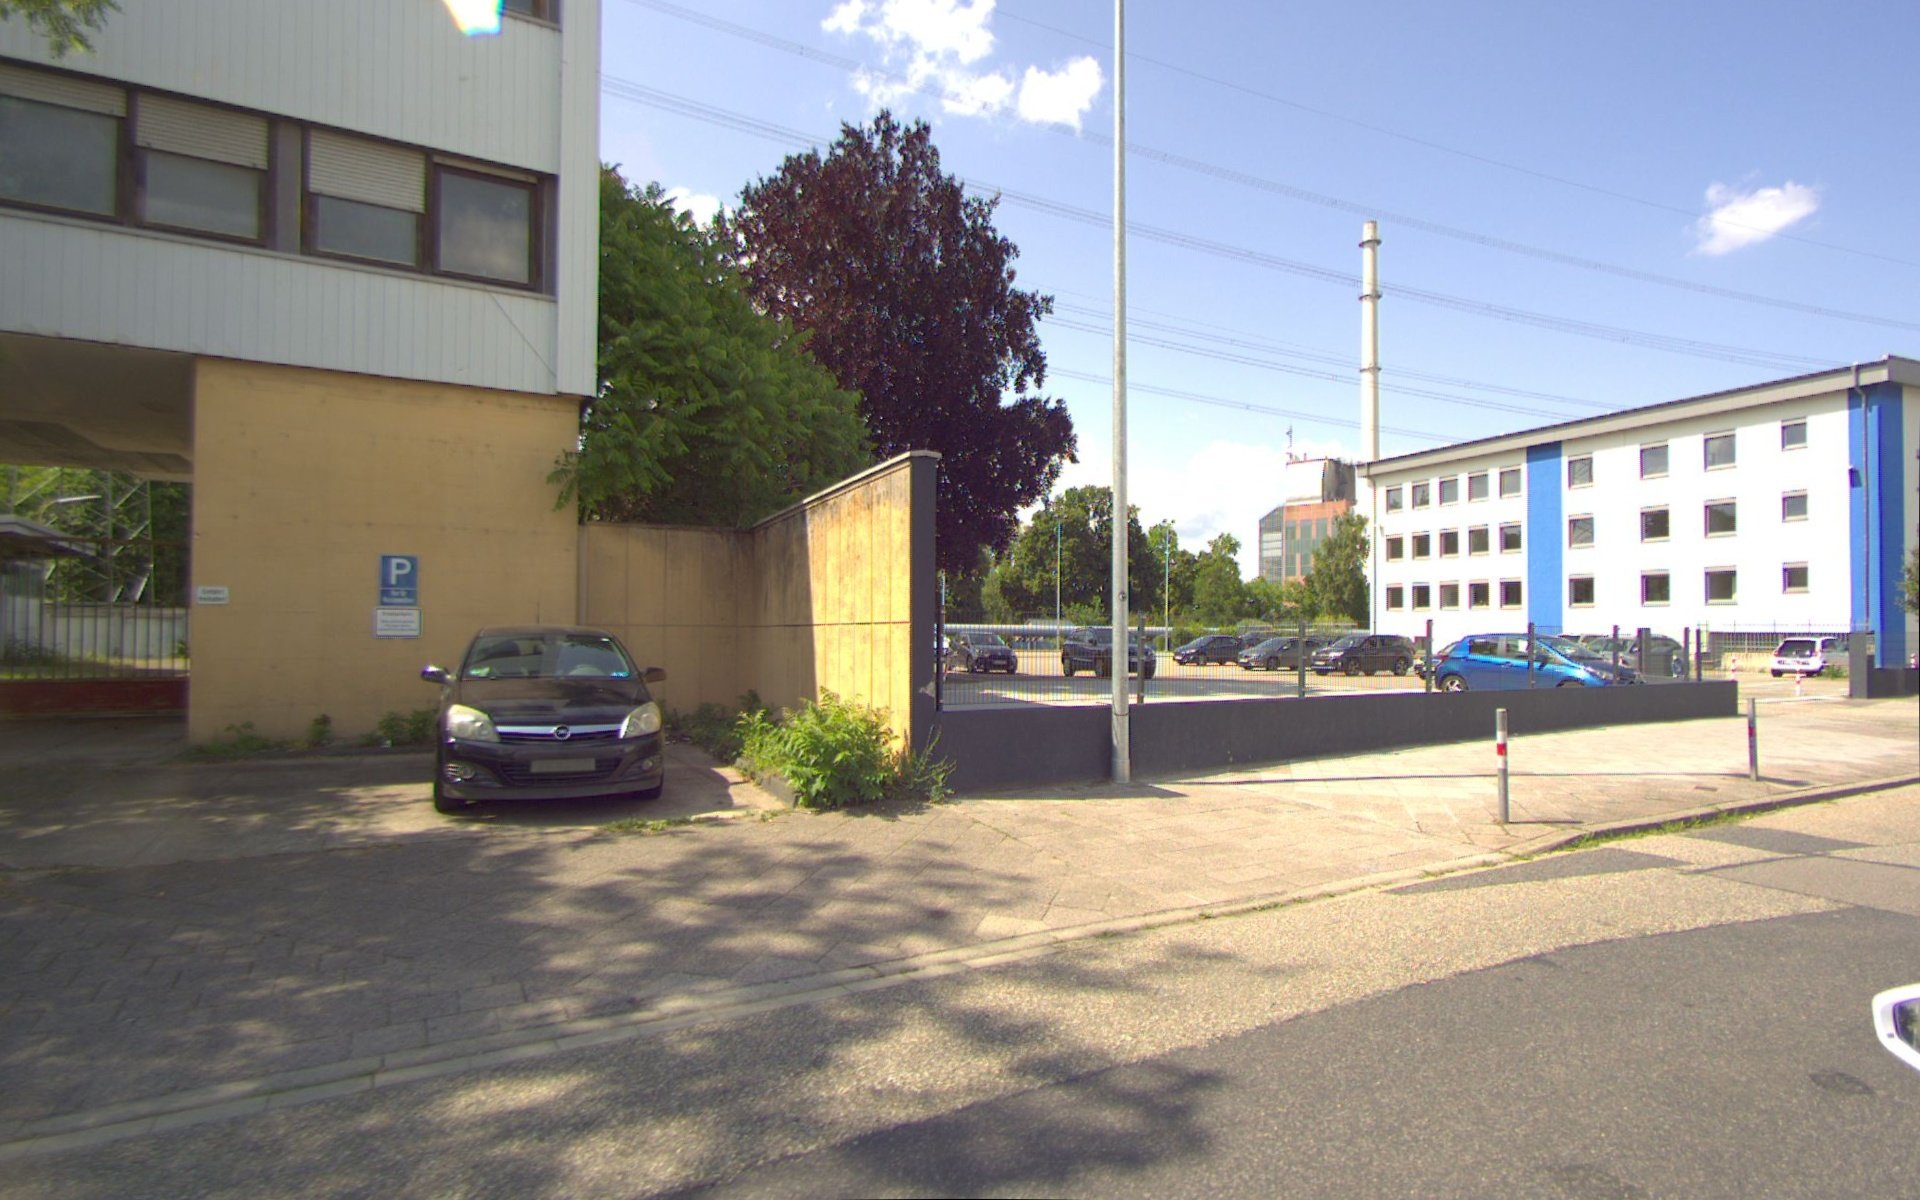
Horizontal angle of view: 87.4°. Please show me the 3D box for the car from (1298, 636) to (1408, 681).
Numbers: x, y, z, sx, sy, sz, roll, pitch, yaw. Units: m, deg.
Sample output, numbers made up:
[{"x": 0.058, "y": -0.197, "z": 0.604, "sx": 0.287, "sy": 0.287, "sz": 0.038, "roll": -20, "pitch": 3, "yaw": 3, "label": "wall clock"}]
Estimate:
[{"x": 15.712, "y": 2.322, "z": 40.125, "sx": 4.012, "sy": 1.731, "sz": 1.867, "roll": 2, "pitch": -2, "yaw": -25, "label": "car"}]

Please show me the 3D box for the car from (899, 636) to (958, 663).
[{"x": -1.505, "y": 2.333, "z": 47.556, "sx": 1.658, "sy": 1.246, "sz": 3.303, "roll": 1, "pitch": -3, "yaw": -24, "label": "car"}]

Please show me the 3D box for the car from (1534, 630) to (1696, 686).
[{"x": 20.453, "y": 1.797, "z": 31.362, "sx": 4.774, "sy": 1.657, "sz": 1.821, "roll": 1, "pitch": -3, "yaw": -22, "label": "car"}]

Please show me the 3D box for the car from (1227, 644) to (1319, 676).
[{"x": 13.813, "y": 2.636, "z": 44.354, "sx": 3.703, "sy": 1.339, "sz": 1.535, "roll": 1, "pitch": -2, "yaw": -19, "label": "car"}]

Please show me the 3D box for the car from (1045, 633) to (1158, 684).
[{"x": 4.467, "y": 1.851, "z": 32.371, "sx": 1.658, "sy": 1.521, "sz": 4.188, "roll": 1, "pitch": -3, "yaw": -24, "label": "car"}]

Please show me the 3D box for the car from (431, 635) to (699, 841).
[{"x": -3.645, "y": 1.025, "z": 9.010, "sx": 1.771, "sy": 1.380, "sz": 3.980, "roll": 2, "pitch": -2, "yaw": -26, "label": "car"}]

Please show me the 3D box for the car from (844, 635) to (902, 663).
[{"x": -4.061, "y": 2.265, "z": 46.299, "sx": 1.658, "sy": 1.246, "sz": 3.303, "roll": 1, "pitch": -3, "yaw": -24, "label": "car"}]

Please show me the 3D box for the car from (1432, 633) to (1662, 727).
[{"x": 11.861, "y": 1.543, "z": 20.505, "sx": 1.856, "sy": 1.731, "sz": 3.631, "roll": 2, "pitch": -2, "yaw": -30, "label": "car"}]

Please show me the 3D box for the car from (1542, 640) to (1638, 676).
[{"x": 30.334, "y": 2.765, "z": 48.374, "sx": 4.384, "sy": 1.676, "sz": 1.819, "roll": 2, "pitch": -3, "yaw": -25, "label": "car"}]

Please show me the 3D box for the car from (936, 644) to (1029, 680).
[{"x": 0.752, "y": 2.220, "z": 36.681, "sx": 1.805, "sy": 1.243, "sz": 4.188, "roll": 1, "pitch": -3, "yaw": -24, "label": "car"}]

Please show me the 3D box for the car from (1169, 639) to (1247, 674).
[{"x": 12.161, "y": 2.752, "z": 49.182, "sx": 3.964, "sy": 1.638, "sz": 1.635, "roll": 2, "pitch": -3, "yaw": -38, "label": "car"}]

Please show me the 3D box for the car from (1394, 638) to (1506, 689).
[{"x": 17.569, "y": 2.242, "z": 36.036, "sx": 3.431, "sy": 1.731, "sz": 1.868, "roll": 1, "pitch": -2, "yaw": -24, "label": "car"}]

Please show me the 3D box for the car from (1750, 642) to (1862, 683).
[{"x": 32.444, "y": 2.376, "z": 38.530, "sx": 3.706, "sy": 1.526, "sz": 1.868, "roll": 1, "pitch": -2, "yaw": -24, "label": "car"}]
